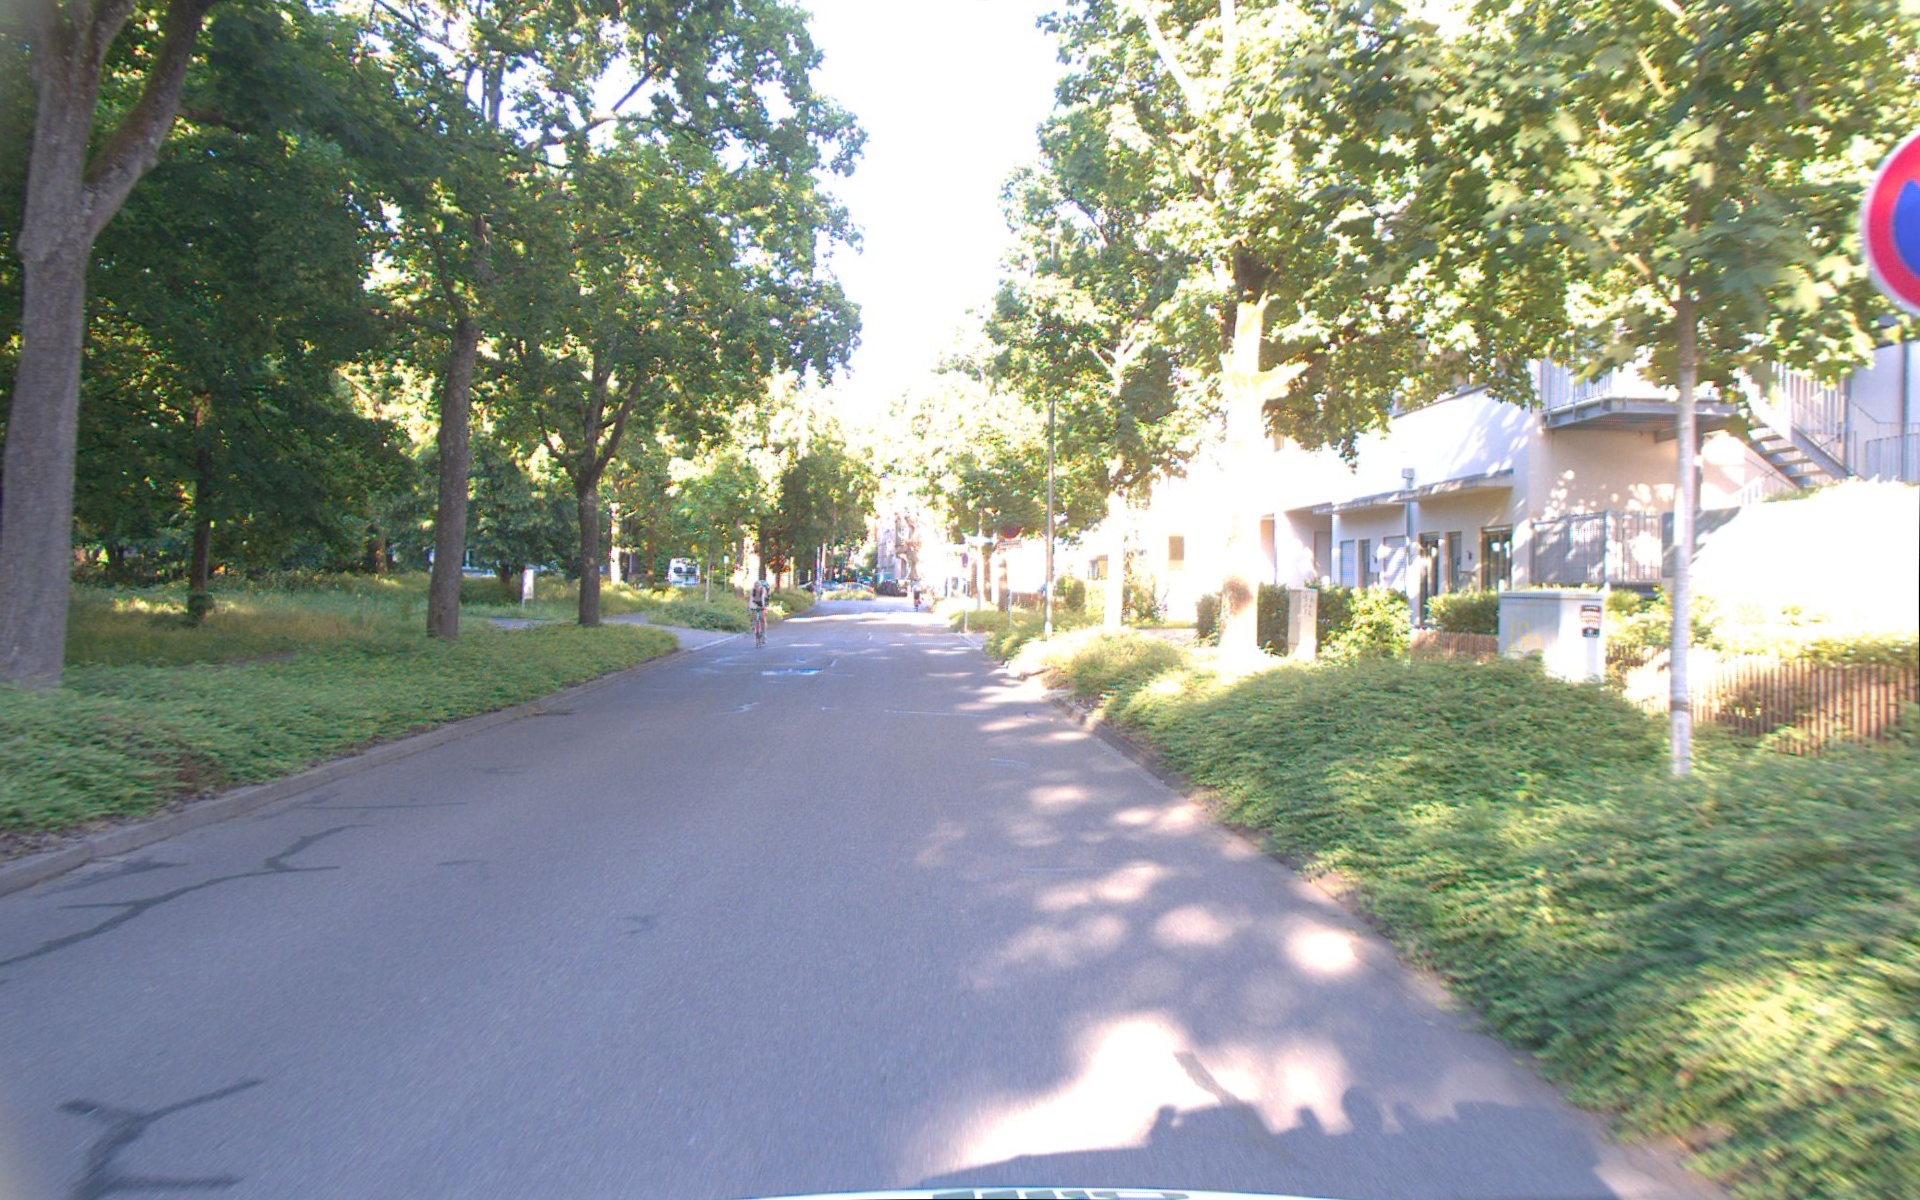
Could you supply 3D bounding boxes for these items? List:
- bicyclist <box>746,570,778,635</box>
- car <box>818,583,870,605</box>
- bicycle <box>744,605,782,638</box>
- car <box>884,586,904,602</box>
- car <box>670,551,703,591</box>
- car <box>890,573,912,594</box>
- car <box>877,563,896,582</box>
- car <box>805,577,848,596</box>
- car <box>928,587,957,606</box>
[{"bbox_3d":[-4.875,0.065,40.788,0.620,1.582,1.003,-1,0,2],"label":"bicyclist"},{"bbox_3d":[-9.190,-0.470,130.649,3.915,1.527,1.813,2,0,-11],"label":"car"},{"bbox_3d":[-4.865,0.515,40.936,0.625,0.755,2.126,-1,0,2],"label":"bicycle"},{"bbox_3d":[-6.761,-0.597,169.743,1.776,1.527,3.995,2,0,-6],"label":"car"},{"bbox_3d":[-18.014,-1.904,108.919,1.958,2.552,3.989,2,0,-11],"label":"car"},{"bbox_3d":[-5.774,-1.586,161.466,1.776,1.959,3.995,2,0,-6],"label":"car"},{"bbox_3d":[-8.308,-3.102,186.427,1.776,2.086,3.995,2,0,-6],"label":"car"},{"bbox_3d":[-11.542,-1.171,142.794,3.522,1.536,1.496,2,0,-11],"label":"car"},{"bbox_3d":[-1.418,-0.288,133.168,1.778,1.527,3.991,0,0,-10],"label":"car"}]
